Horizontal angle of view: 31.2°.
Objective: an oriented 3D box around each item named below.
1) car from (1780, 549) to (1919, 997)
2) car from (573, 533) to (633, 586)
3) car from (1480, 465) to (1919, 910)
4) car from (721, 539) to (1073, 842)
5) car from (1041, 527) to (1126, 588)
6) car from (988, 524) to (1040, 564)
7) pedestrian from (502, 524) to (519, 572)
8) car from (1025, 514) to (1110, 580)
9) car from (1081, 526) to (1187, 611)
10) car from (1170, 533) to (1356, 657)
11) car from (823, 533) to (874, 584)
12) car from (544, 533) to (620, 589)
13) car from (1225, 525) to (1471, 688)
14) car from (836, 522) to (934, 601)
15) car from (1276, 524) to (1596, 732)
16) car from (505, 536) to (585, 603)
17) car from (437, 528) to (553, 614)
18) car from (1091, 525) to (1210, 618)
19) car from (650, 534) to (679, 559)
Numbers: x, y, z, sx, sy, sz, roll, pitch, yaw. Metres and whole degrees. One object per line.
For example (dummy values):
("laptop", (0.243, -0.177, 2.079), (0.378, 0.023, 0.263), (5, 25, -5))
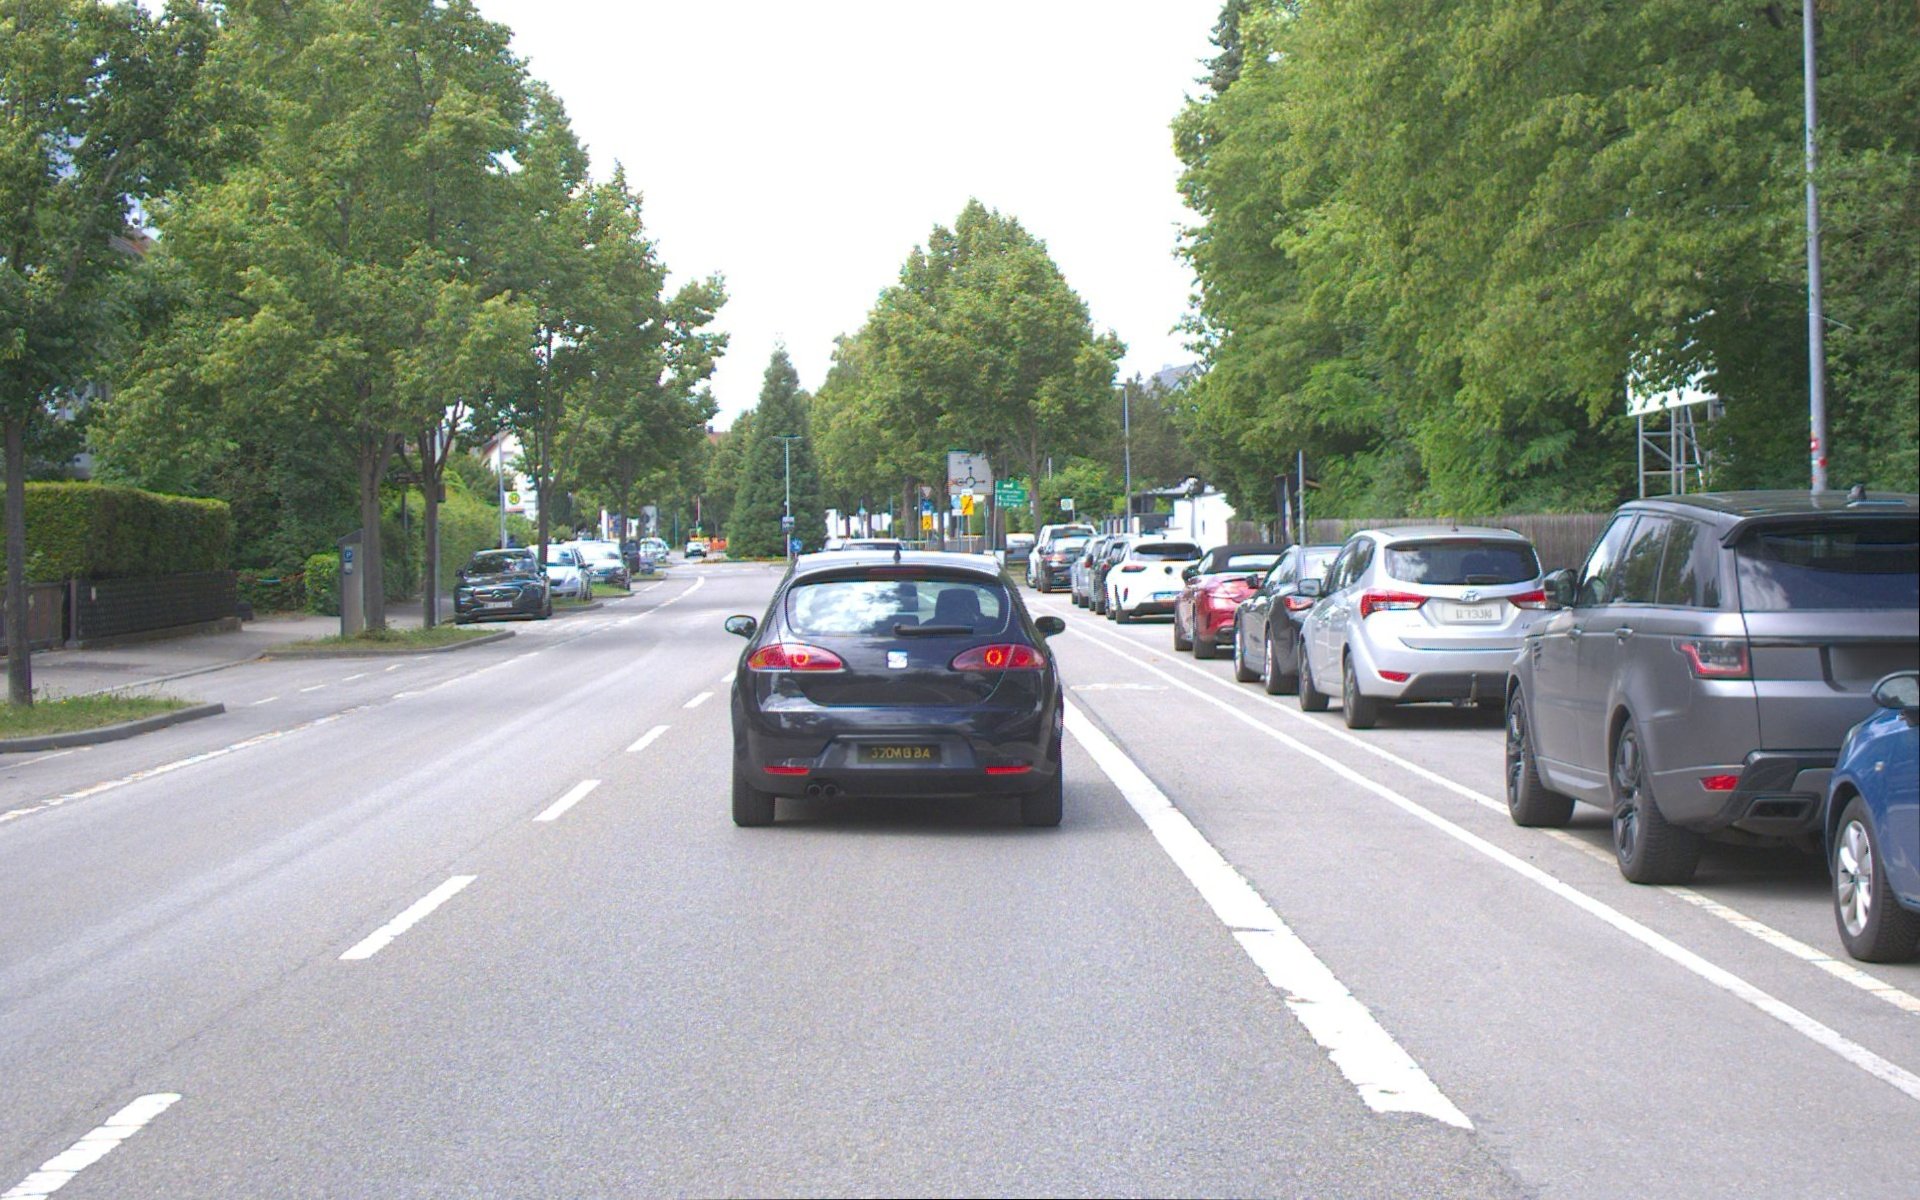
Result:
("car", (4.053, 0.577, 11.200), (1.684, 1.496, 3.922), (0, 1, -2))
("car", (-10.910, -1.262, 105.137), (1.677, 1.546, 4.273), (-2, 1, -4))
("car", (3.871, 0.330, 16.420), (1.993, 1.809, 4.827), (0, 1, 0))
("car", (-0.328, 0.413, 19.104), (1.732, 1.481, 4.000), (1, 1, 0))
("car", (2.973, -1.049, 83.523), (1.863, 1.412, 4.603), (-1, 1, 0))
("car", (1.975, -2.046, 126.912), (1.611, 1.372, 4.387), (-2, 0, -3))
("pedestrian", (-16.708, -1.935, 127.752), (0.503, 1.800, 0.671), (-2, 1, -3))
("car", (2.796, -1.377, 90.141), (1.900, 1.637, 4.117), (-2, 1, -2))
("car", (3.252, -0.621, 65.068), (1.702, 1.505, 4.538), (0, 2, -1))
("car", (3.781, -0.106, 43.602), (1.859, 1.408, 4.444), (1, 2, -1))
("car", (-4.512, -1.685, 139.439), (1.993, 2.007, 4.001), (-1, 1, -2))
("car", (-10.611, -1.115, 96.772), (1.993, 1.480, 4.891), (-2, 1, -6))
("car", (3.806, 0.027, 34.447), (1.816, 1.510, 4.680), (0, 1, -1))
("car", (-1.617, -0.836, 73.211), (1.993, 1.607, 4.001), (-1, 1, -2))
("car", (3.887, 0.170, 28.787), (1.862, 1.584, 4.422), (-1, 1, -3))
("car", (-10.501, -0.793, 87.150), (1.718, 1.607, 3.911), (-2, 1, -3))
("car", (-9.789, -0.639, 72.663), (2.095, 1.641, 5.039), (-2, 2, -5))
("car", (3.248, -0.502, 59.214), (1.768, 1.505, 4.031), (-1, 1, 0))
("car", (-19.560, -3.572, 227.847), (1.797, 1.596, 4.001), (-2, 1, -4))
